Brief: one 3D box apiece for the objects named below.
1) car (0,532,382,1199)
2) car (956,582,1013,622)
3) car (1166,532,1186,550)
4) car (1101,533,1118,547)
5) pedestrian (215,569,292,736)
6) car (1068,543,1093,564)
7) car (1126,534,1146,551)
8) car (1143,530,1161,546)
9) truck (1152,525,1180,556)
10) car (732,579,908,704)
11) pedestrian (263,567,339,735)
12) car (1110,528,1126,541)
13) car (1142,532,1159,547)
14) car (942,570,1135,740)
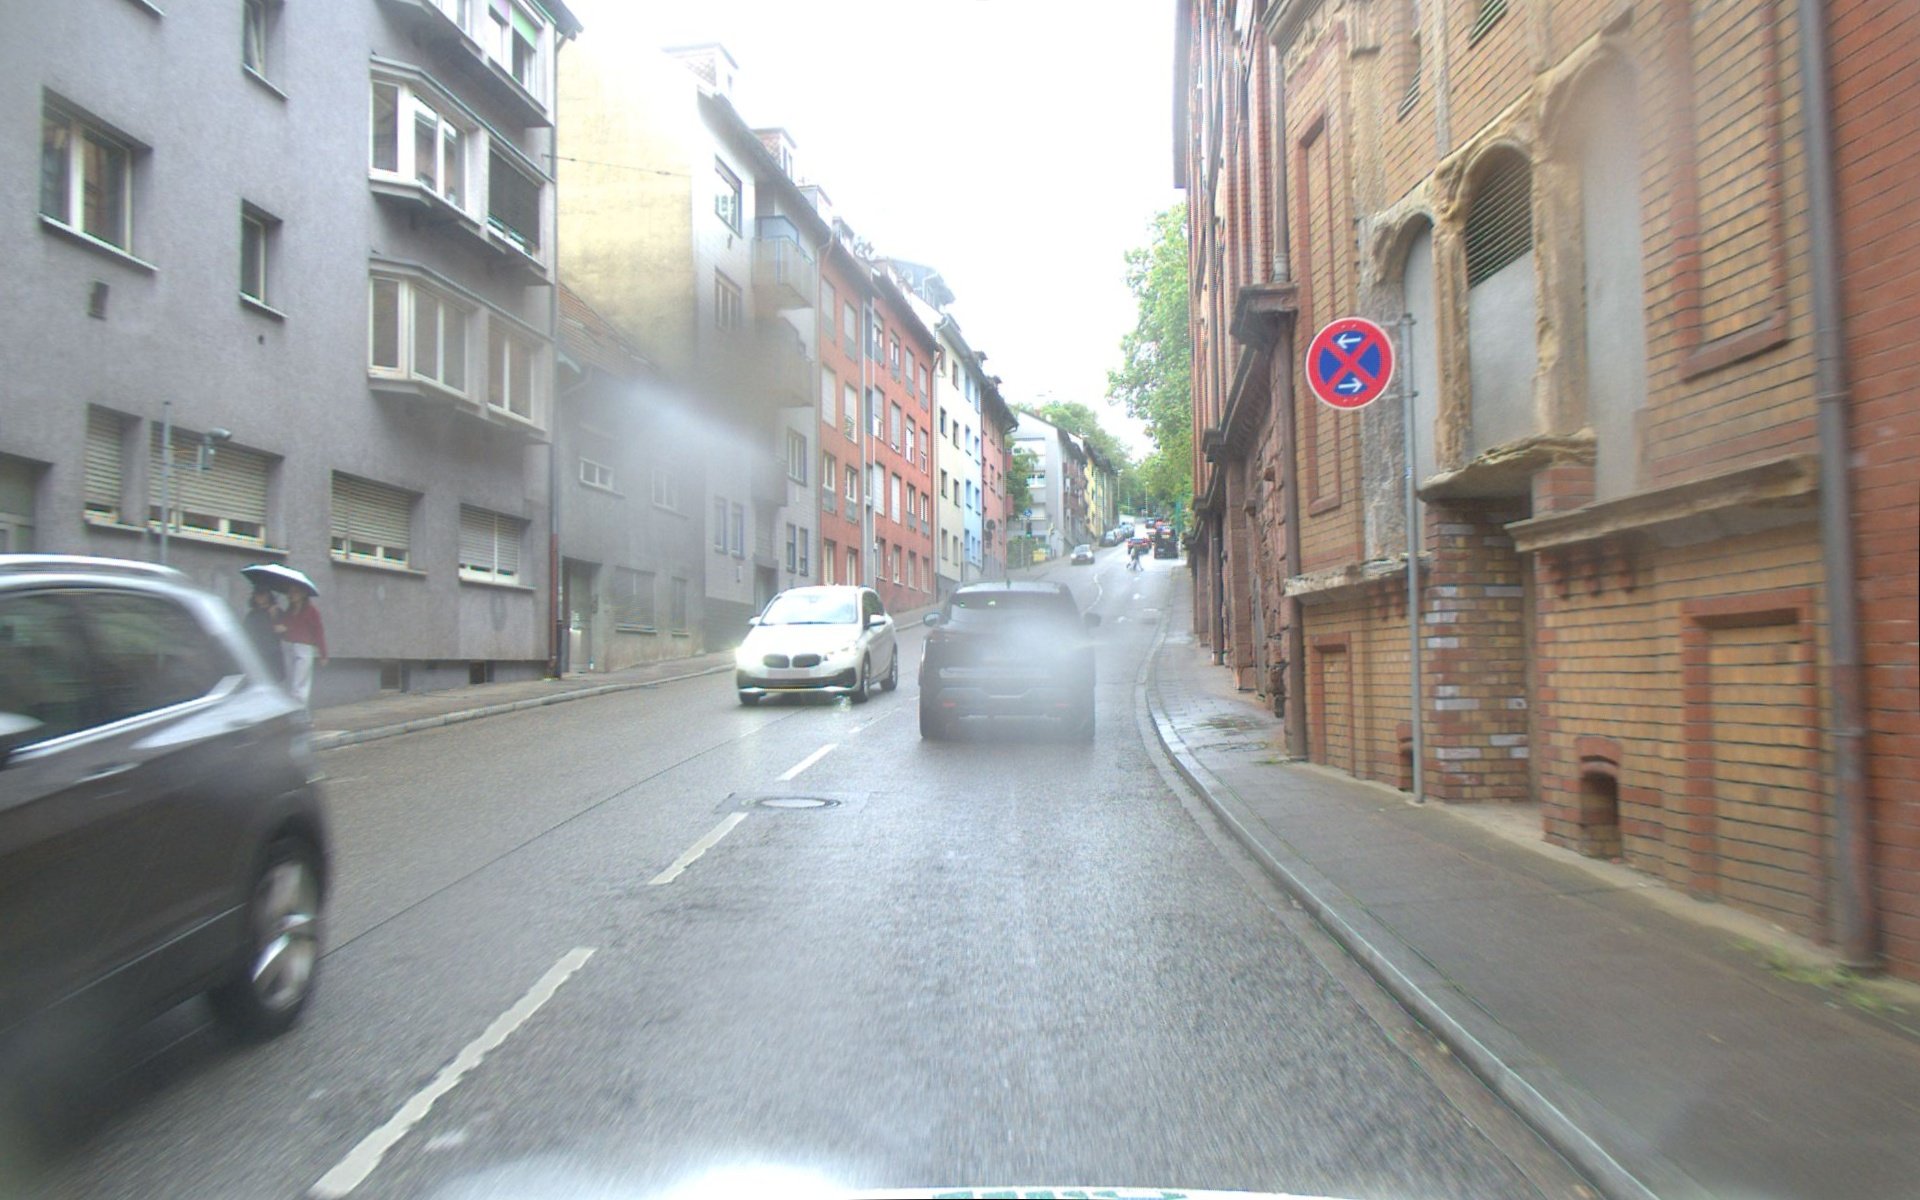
[{"bbox_3d":[-3.044,0.670,4.294,1.728,1.604,3.764,-2,0,0],"label":"car"},{"bbox_3d":[0.978,0.065,63.731,1.609,1.402,3.854,-3,1,9],"label":"car"},{"bbox_3d":[20.158,-5.507,154.317,1.756,1.536,4.504,-1,1,8],"label":"car"},{"bbox_3d":[16.712,-6.688,184.756,1.756,1.536,4.004,-1,1,8],"label":"car"},{"bbox_3d":[-7.826,0.563,18.348,0.512,1.807,0.622,-2,1,2],"label":"pedestrian"},{"bbox_3d":[9.377,-3.624,128.835,1.677,1.473,3.925,-2,2,7],"label":"car"},{"bbox_3d":[16.699,-5.453,156.727,1.756,1.536,4.004,-1,1,8],"label":"car"},{"bbox_3d":[19.937,-6.457,171.667,1.756,1.536,4.004,-1,1,8],"label":"car"},{"bbox_3d":[17.466,-4.986,139.875,2.240,2.482,4.456,-1,1,8],"label":"truck"},{"bbox_3d":[-1.904,0.541,23.722,1.727,1.604,4.039,-2,0,6],"label":"car"},{"bbox_3d":[-7.296,0.550,18.328,0.512,1.807,0.622,-2,1,2],"label":"pedestrian"},{"bbox_3d":[19.579,-8.120,204.413,1.756,1.536,4.004,-1,1,8],"label":"car"},{"bbox_3d":[21.636,-6.842,187.783,1.756,1.536,4.004,-1,1,8],"label":"car"},{"bbox_3d":[0.738,0.556,17.921,1.843,1.622,3.920,1,-1,-1],"label":"car"}]
